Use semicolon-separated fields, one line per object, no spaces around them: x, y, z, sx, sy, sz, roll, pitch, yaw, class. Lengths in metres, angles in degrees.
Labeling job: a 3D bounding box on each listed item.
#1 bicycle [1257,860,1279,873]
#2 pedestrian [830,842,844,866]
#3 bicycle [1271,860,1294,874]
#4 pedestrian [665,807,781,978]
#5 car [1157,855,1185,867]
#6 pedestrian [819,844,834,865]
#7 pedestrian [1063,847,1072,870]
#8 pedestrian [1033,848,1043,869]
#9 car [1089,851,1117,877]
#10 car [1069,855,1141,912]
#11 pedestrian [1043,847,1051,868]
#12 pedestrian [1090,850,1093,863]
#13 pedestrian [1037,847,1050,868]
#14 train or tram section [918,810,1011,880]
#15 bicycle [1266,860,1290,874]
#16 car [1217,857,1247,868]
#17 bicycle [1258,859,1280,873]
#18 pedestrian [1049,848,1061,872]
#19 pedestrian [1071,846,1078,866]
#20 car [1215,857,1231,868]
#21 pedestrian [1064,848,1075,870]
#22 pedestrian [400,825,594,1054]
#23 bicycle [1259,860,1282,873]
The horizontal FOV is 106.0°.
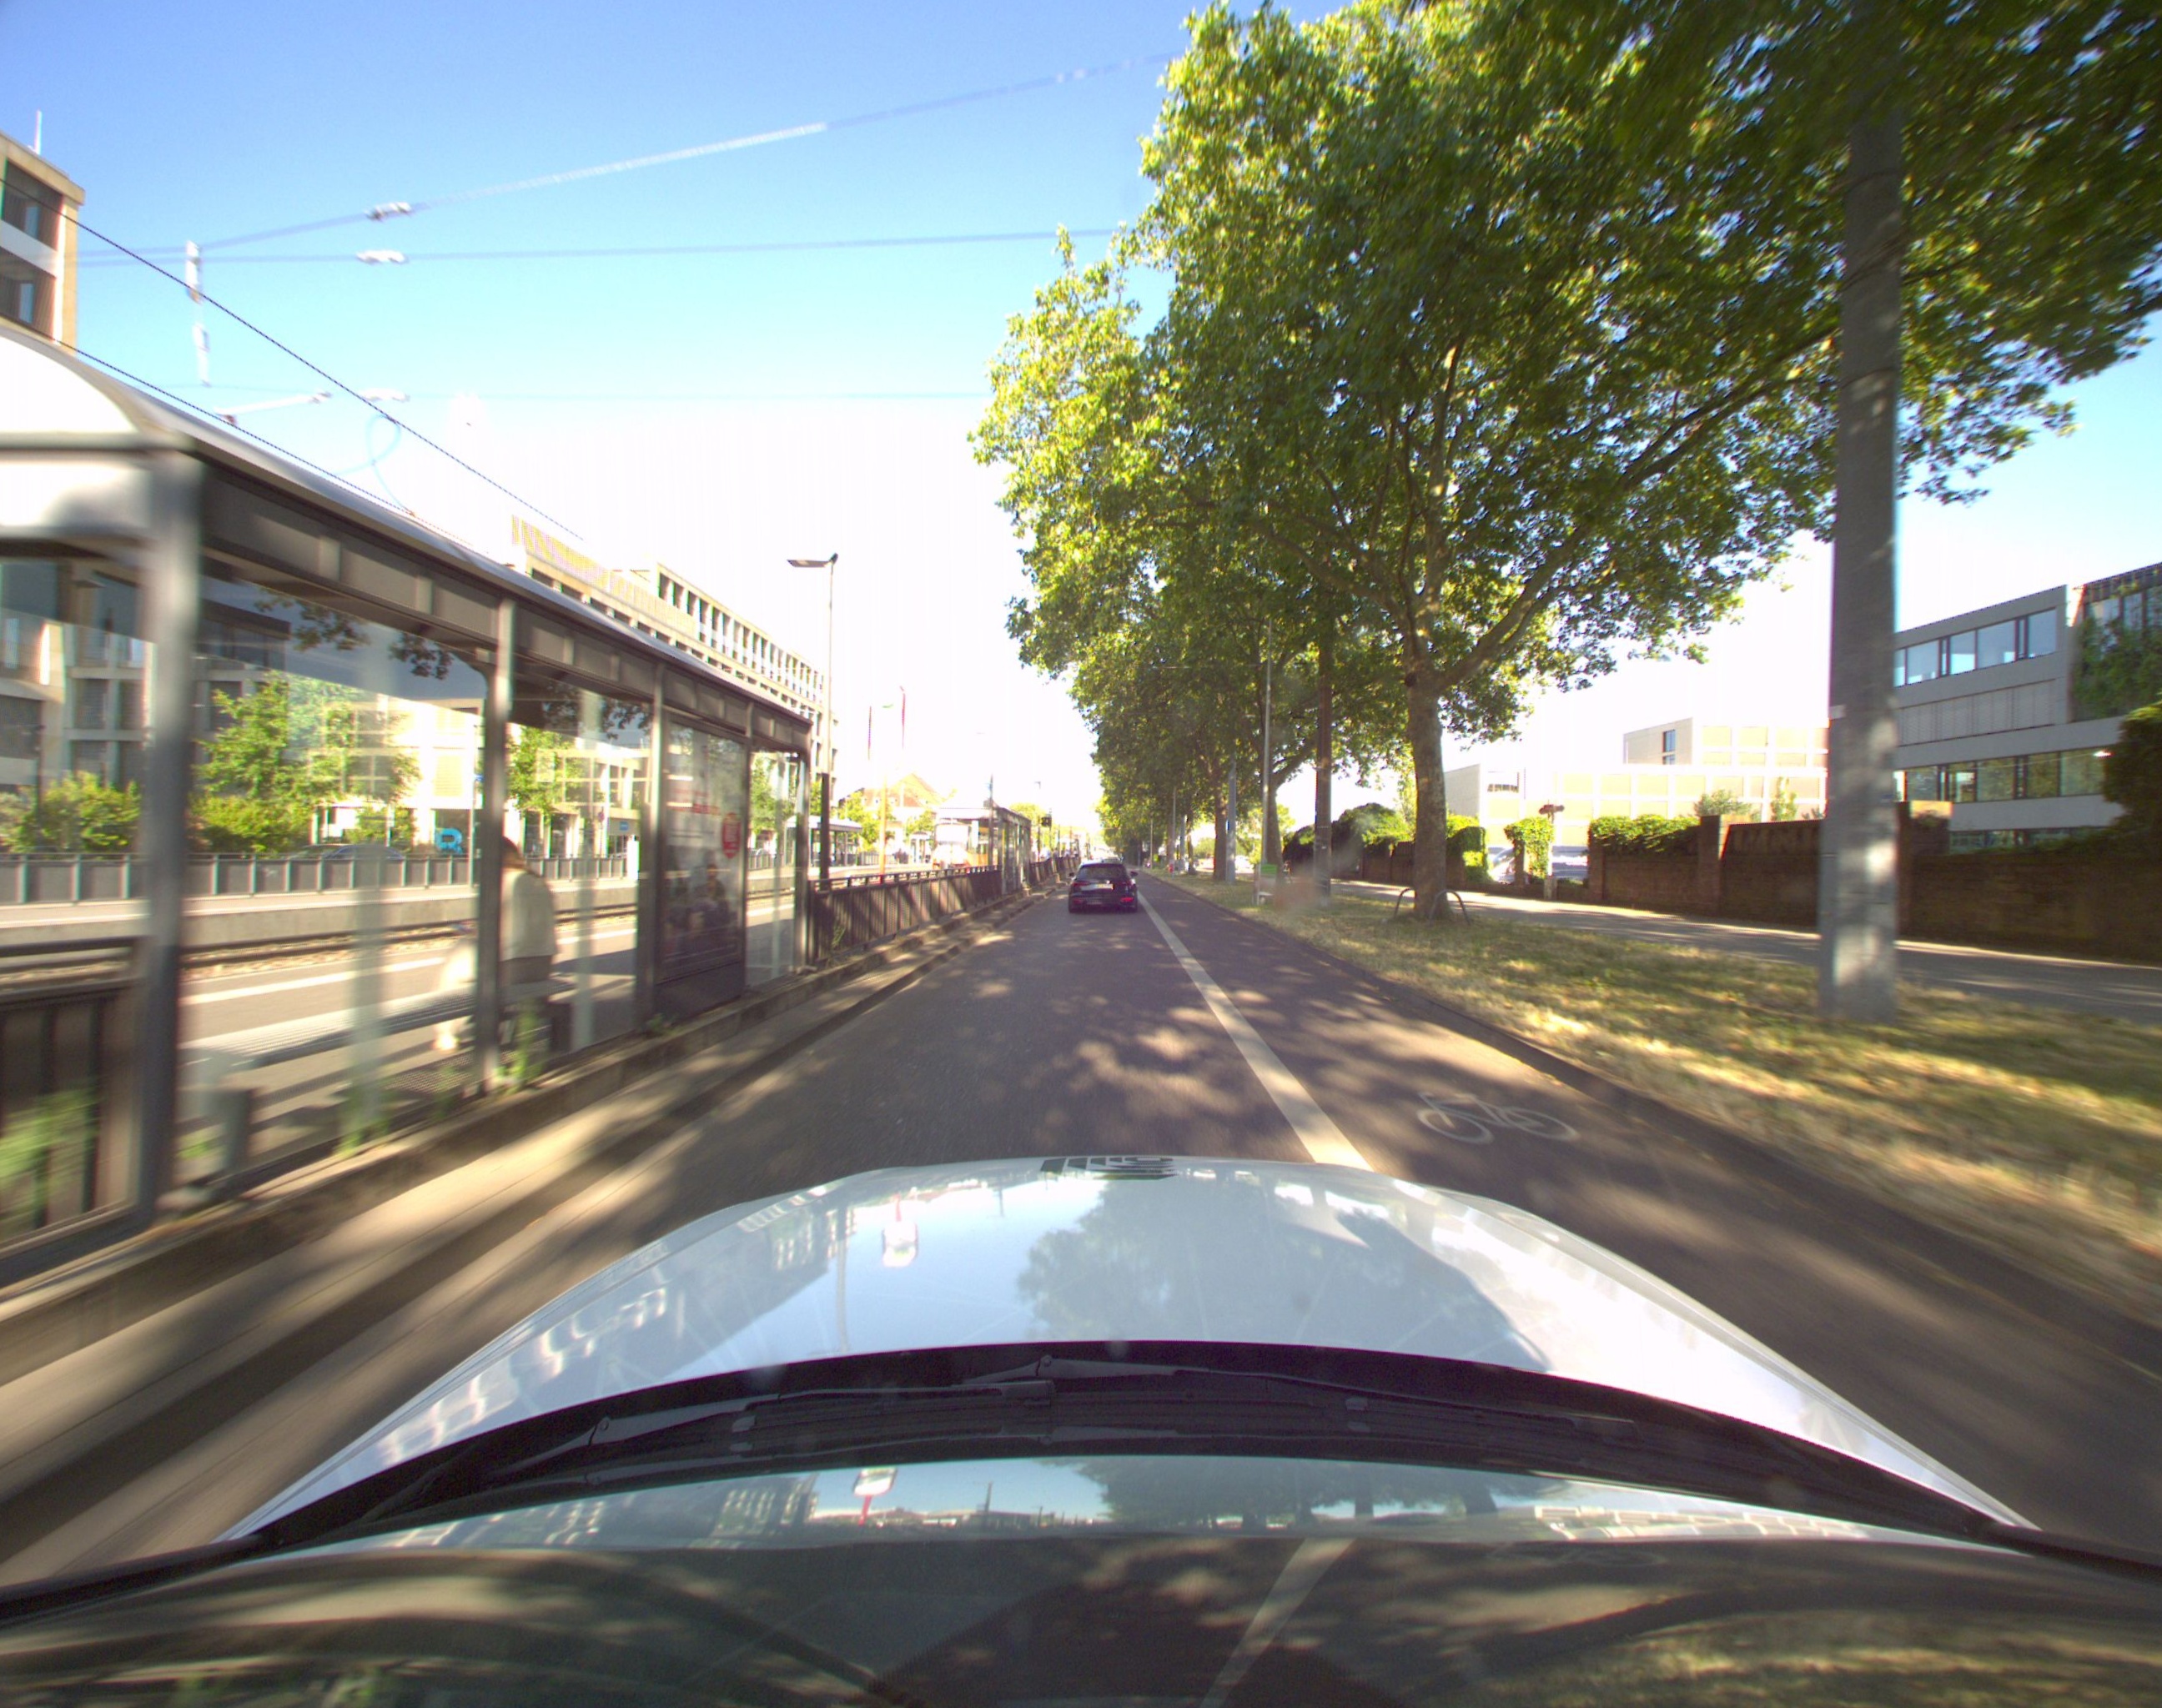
15.714;1.028;68.308;1.767;1.120;0.439;0;-1;1;bicycle
-15.679;0.003;52.335;0.610;1.527;0.726;1;0;10;pedestrian
15.576;1.014;63.071;1.681;1.120;0.439;0;-1;1;bicycle
-3.310;0.337;7.579;0.742;1.508;0.667;1;0;4;pedestrian
13.417;1.006;121.135;3.971;1.764;1.834;1;-1;2;car
-15.578;0.038;49.823;0.611;1.260;0.725;1;0;6;pedestrian
-1.022;0.341;60.669;0.609;1.668;0.614;1;-1;4;pedestrian
-3.677;0.391;70.125;0.790;1.784;0.626;1;-1;2;pedestrian
1.423;0.667;53.746;1.757;1.619;3.999;1;0;0;car
0.623;0.768;22.833;1.872;1.457;3.356;0;0;0;car
-3.059;0.311;72.580;0.609;1.784;0.775;1;0;2;pedestrian
1.387;0.356;110.092;0.410;1.717;0.666;1;-1;2;pedestrian
-3.204;0.279;69.297;0.799;1.784;0.642;2;-1;-38;pedestrian
-7.040;-0.464;52.072;3.296;3.829;14.225;1;0;2;train or tram section
15.739;1.012;65.085;1.767;1.120;0.439;0;-1;1;bicycle
23.995;1.369;129.472;4.436;1.658;1.921;1;0;6;car
15.980;1.026;69.347;1.767;1.120;0.439;0;-1;1;bicycle
-1.743;0.406;54.901;0.610;1.549;0.727;1;-1;12;pedestrian
-0.577;0.150;73.077;0.609;1.784;0.614;1;-1;2;pedestrian
19.537;1.141;112.287;1.608;1.515;3.805;1;0;2;car
-0.883;0.358;61.799;0.613;1.642;0.610;1;-1;-18;pedestrian
-3.437;0.479;4.833;0.739;1.274;0.525;1;0;1;pedestrian
15.662;1.032;67.222;1.767;1.120;0.439;0;-1;1;bicycle
